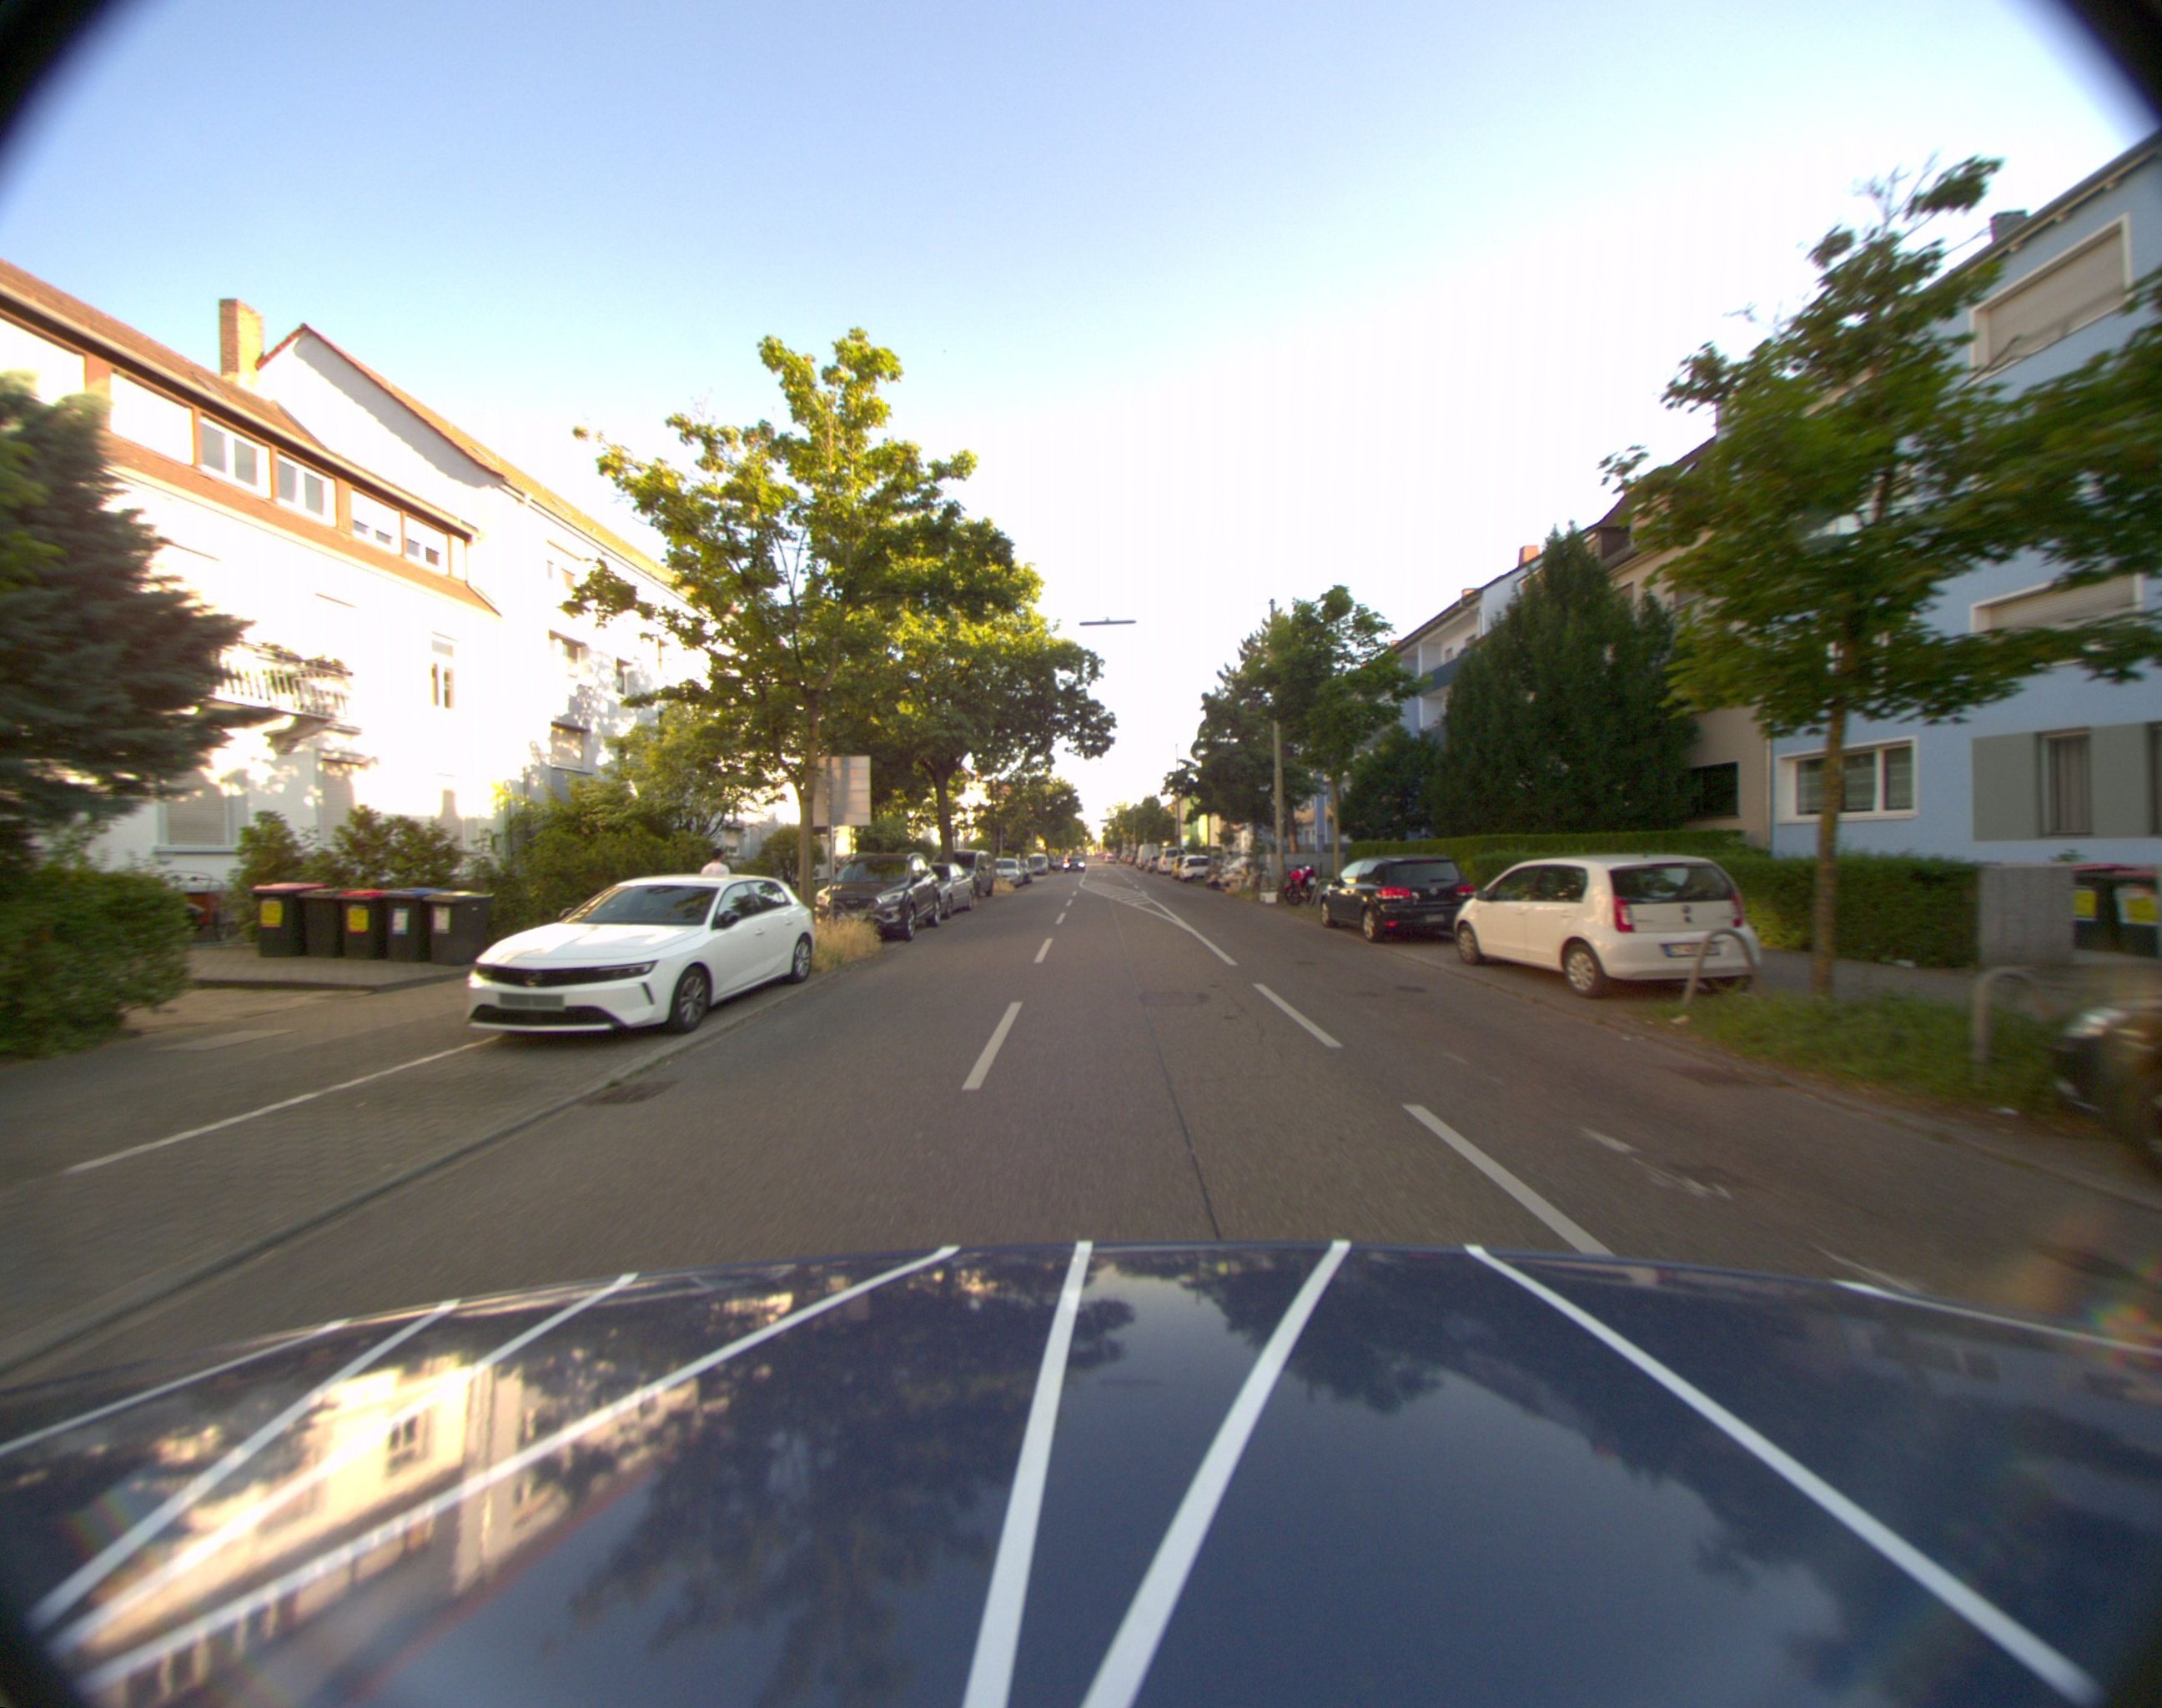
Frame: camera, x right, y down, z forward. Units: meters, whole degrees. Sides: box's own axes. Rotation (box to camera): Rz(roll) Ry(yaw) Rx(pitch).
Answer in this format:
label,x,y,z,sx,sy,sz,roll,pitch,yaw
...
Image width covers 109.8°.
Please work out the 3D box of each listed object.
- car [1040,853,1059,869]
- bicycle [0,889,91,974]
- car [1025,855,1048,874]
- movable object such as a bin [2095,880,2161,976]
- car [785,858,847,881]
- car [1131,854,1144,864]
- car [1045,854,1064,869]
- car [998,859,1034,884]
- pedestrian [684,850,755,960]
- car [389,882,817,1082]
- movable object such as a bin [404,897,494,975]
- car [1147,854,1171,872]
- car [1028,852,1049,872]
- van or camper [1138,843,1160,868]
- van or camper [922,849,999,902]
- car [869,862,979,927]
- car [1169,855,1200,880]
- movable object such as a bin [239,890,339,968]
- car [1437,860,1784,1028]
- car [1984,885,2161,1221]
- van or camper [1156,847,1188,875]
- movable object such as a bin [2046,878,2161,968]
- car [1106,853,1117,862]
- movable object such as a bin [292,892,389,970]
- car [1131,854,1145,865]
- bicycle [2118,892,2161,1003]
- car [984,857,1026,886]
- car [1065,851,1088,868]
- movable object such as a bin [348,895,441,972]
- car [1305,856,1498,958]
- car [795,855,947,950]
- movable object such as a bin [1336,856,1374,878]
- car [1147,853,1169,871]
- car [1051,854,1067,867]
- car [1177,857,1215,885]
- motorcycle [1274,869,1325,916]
label,x,y,z,sx,sy,sz,roll,pitch,yaw
car,-3.184,0.719,76.945,1.798,1.558,3.671,0,0,-2
bicycle,-14.717,1.035,10.314,1.727,1.087,0.668,-1,1,3
car,-3.665,0.843,62.934,1.798,1.577,3.999,0,0,-2
movable object such as a bin,12.812,0.861,9.048,0.732,1.082,0.559,0,1,0
car,-19.970,1.169,57.385,3.999,1.547,1.998,-1,3,-6
car,7.968,0.698,106.615,1.762,1.439,3.787,-1,0,6
car,-2.919,0.798,84.410,1.798,1.558,3.672,0,0,1
car,-3.745,0.992,44.561,1.738,1.435,4.339,0,0,0
pedestrian,-6.180,0.848,13.032,0.669,1.773,0.764,-4,3,1
car,-4.505,1.086,8.126,1.766,1.394,4.333,0,0,1
movable object such as a bin,-9.329,1.195,11.240,0.727,1.052,0.684,2,1,0
car,6.779,0.759,66.559,1.808,1.489,3.957,-2,0,3
car,-3.768,0.708,68.325,1.798,1.761,3.999,0,0,-2
van or camper,7.193,0.115,80.449,1.917,2.528,5.335,-1,0,1
van or camper,-4.518,0.813,29.347,1.998,1.831,5.260,-1,-1,1
car,-4.182,1.030,21.018,1.788,1.495,4.831,-1,0,3
car,6.446,0.820,47.597,1.577,1.460,3.491,-2,0,3
movable object such as a bin,-11.663,1.093,11.206,0.727,1.052,0.684,2,1,0
car,5.883,0.873,9.041,1.595,1.483,3.641,-2,1,0
car,5.742,0.894,1.774,1.998,1.439,4.458,-1,0,1
van or camper,6.880,0.485,57.845,1.809,2.002,4.864,-2,0,0
movable object such as a bin,12.974,0.858,9.641,0.732,1.082,0.559,0,1,0
car,5.119,0.645,128.111,1.726,1.473,3.956,0,0,0
movable object such as a bin,-10.905,1.125,11.214,0.727,1.052,0.684,2,1,0
car,7.704,0.683,102.664,1.762,1.439,3.592,-1,0,6
bicycle,10.872,0.918,6.992,0.535,1.044,1.476,-1,0,-21
car,-3.874,0.873,39.261,1.738,1.435,4.304,0,0,0
car,-0.403,0.501,70.830,1.999,1.525,4.000,-1,0,0
movable object such as a bin,-10.127,1.159,11.233,0.727,1.052,0.684,2,1,0
car,5.710,0.848,14.180,1.842,1.508,4.316,-2,0,2
car,-4.211,0.881,16.074,1.921,1.672,4.707,0,0,0
movable object such as a bin,13.412,0.638,37.232,1.465,1.043,1.060,-1,0,1
car,7.208,0.700,71.657,1.808,1.582,3.957,-2,0,3
car,-2.678,0.736,93.734,1.798,1.558,3.672,0,0,1
car,6.374,0.915,42.544,1.684,1.434,3.882,-2,0,3
motorcycle,5.918,1.018,20.690,0.640,1.129,2.172,-3,0,-2
